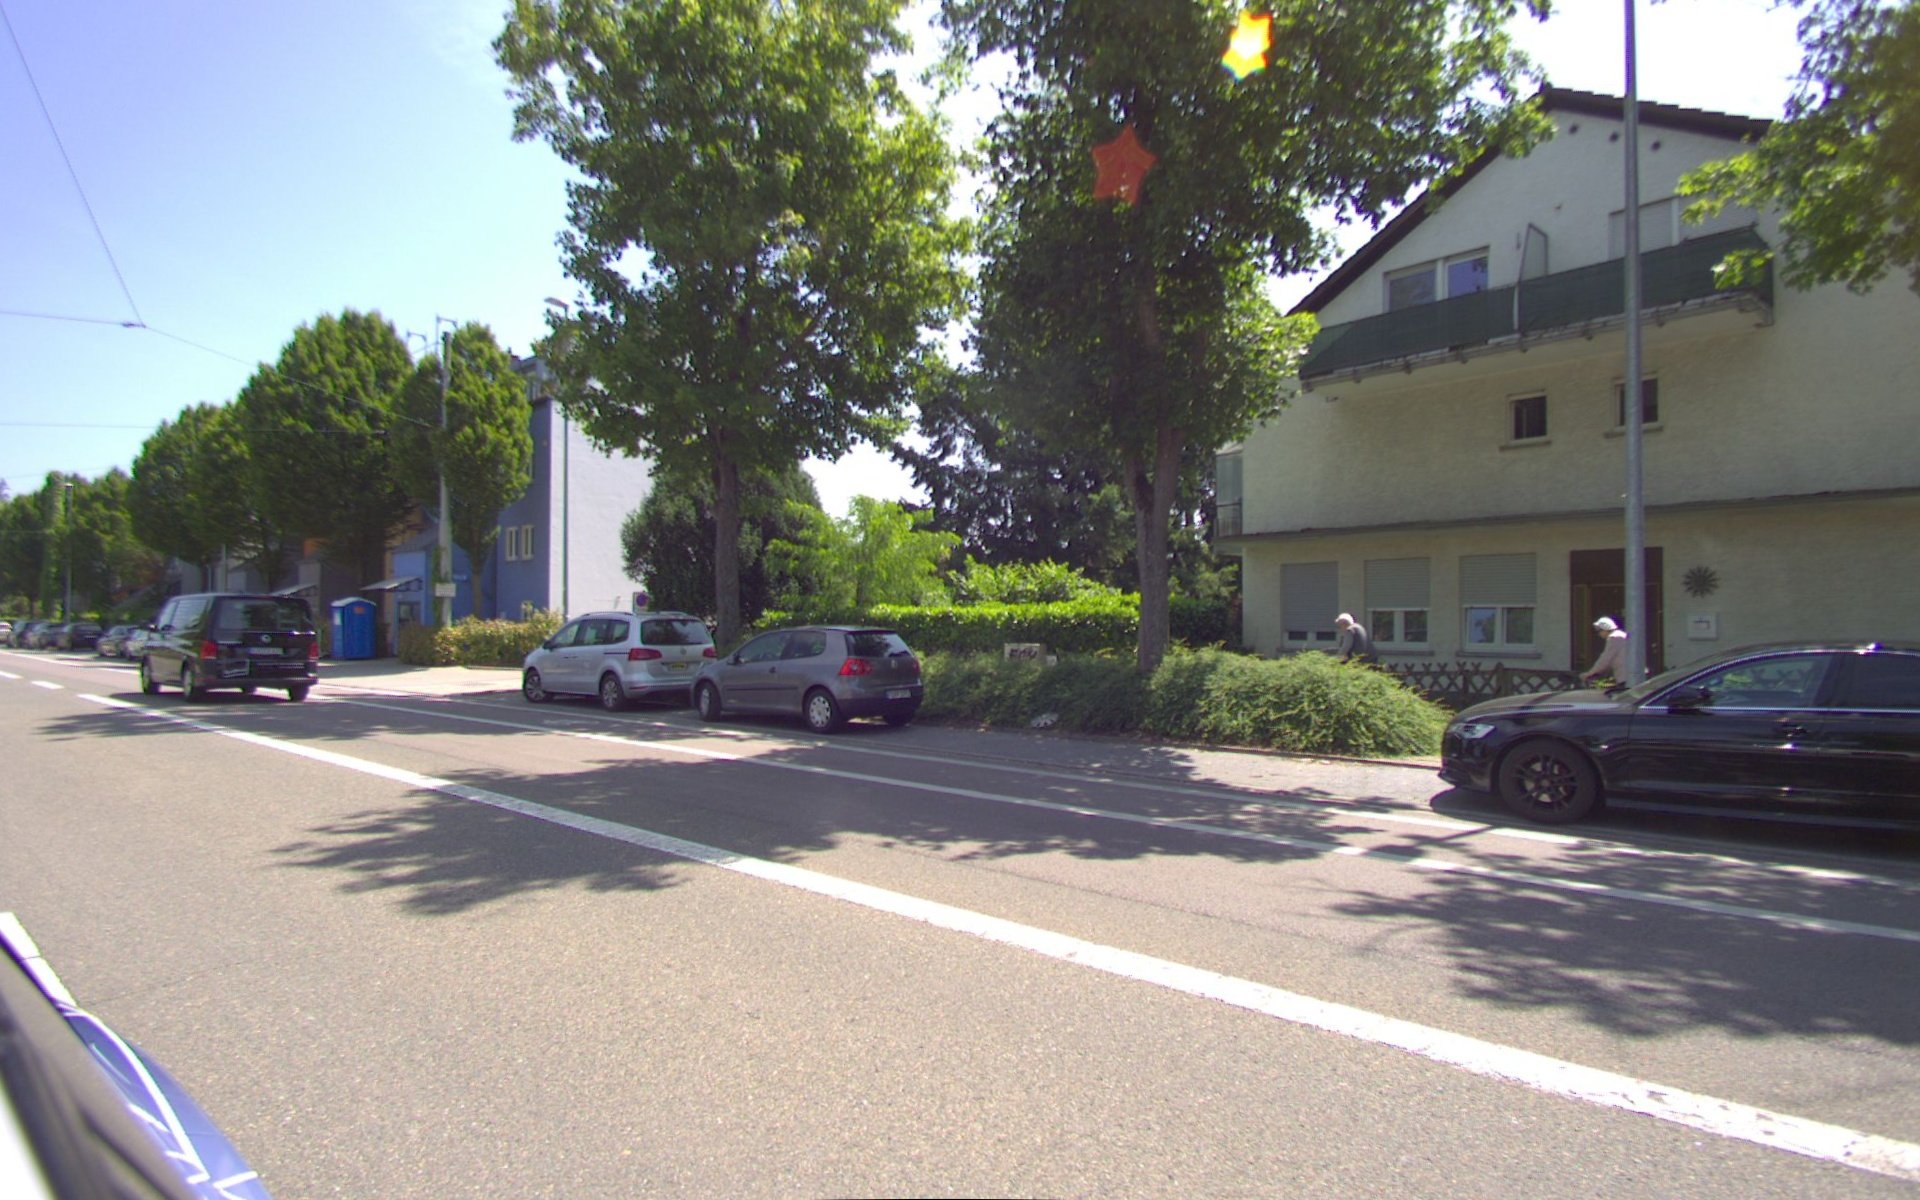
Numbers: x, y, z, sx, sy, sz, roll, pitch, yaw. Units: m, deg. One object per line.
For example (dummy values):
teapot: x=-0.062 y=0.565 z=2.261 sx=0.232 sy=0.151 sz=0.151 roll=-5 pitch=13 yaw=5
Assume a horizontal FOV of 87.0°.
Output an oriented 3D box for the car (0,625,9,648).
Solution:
car: x=-64.930 y=2.463 z=67.437 sx=4.078 sy=1.507 sz=1.702 roll=-1 pitch=1 yaw=39

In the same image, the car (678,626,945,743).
car: x=-2.317 y=1.141 z=15.121 sx=4.125 sy=1.498 sz=1.659 roll=-1 pitch=-1 yaw=40

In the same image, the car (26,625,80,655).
car: x=-50.870 y=2.228 z=56.738 sx=4.078 sy=1.507 sz=1.636 roll=-1 pitch=1 yaw=39

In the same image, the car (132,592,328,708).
car: x=-13.775 y=0.908 z=19.008 sx=4.568 sy=1.925 sz=1.898 roll=-1 pitch=-4 yaw=40

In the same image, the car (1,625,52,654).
car: x=-55.861 y=2.358 z=60.522 sx=4.078 sy=1.599 sz=1.636 roll=-1 pitch=1 yaw=39

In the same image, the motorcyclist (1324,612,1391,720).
motorcyclist: x=5.792 y=0.943 z=14.736 sx=0.725 sy=1.514 sz=0.580 roll=-2 pitch=0 yaw=42

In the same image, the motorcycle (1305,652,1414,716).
motorcycle: x=5.809 y=1.206 z=14.742 sx=1.370 sy=0.832 sz=0.520 roll=-1 pitch=0 yaw=42

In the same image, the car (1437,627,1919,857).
car: x=6.402 y=0.947 z=7.612 sx=4.803 sy=1.467 sz=1.876 roll=-1 pitch=-1 yaw=38

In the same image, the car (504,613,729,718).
car: x=-6.473 y=1.121 z=18.809 sx=4.686 sy=1.701 sz=1.950 roll=-1 pitch=-1 yaw=42

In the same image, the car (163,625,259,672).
car: x=-26.901 y=1.694 z=36.291 sx=4.634 sy=1.507 sz=1.660 roll=-1 pitch=1 yaw=39

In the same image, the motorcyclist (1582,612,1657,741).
motorcyclist: x=8.081 y=0.913 z=12.403 sx=0.662 sy=1.514 sz=0.580 roll=-2 pitch=0 yaw=42

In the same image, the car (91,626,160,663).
car: x=-38.328 y=2.014 z=46.466 sx=4.078 sy=1.507 sz=1.636 roll=-1 pitch=1 yaw=39

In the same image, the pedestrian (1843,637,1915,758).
pedestrian: x=12.135 y=1.259 z=13.366 sx=0.784 sy=1.522 sz=0.609 roll=2 pitch=-3 yaw=-43

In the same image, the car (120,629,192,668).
car: x=-34.208 y=2.019 z=43.052 sx=3.646 sy=1.507 sz=1.636 roll=-1 pitch=1 yaw=39

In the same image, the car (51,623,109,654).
car: x=-47.041 y=2.008 z=54.094 sx=4.078 sy=1.507 sz=1.636 roll=-1 pitch=1 yaw=39
